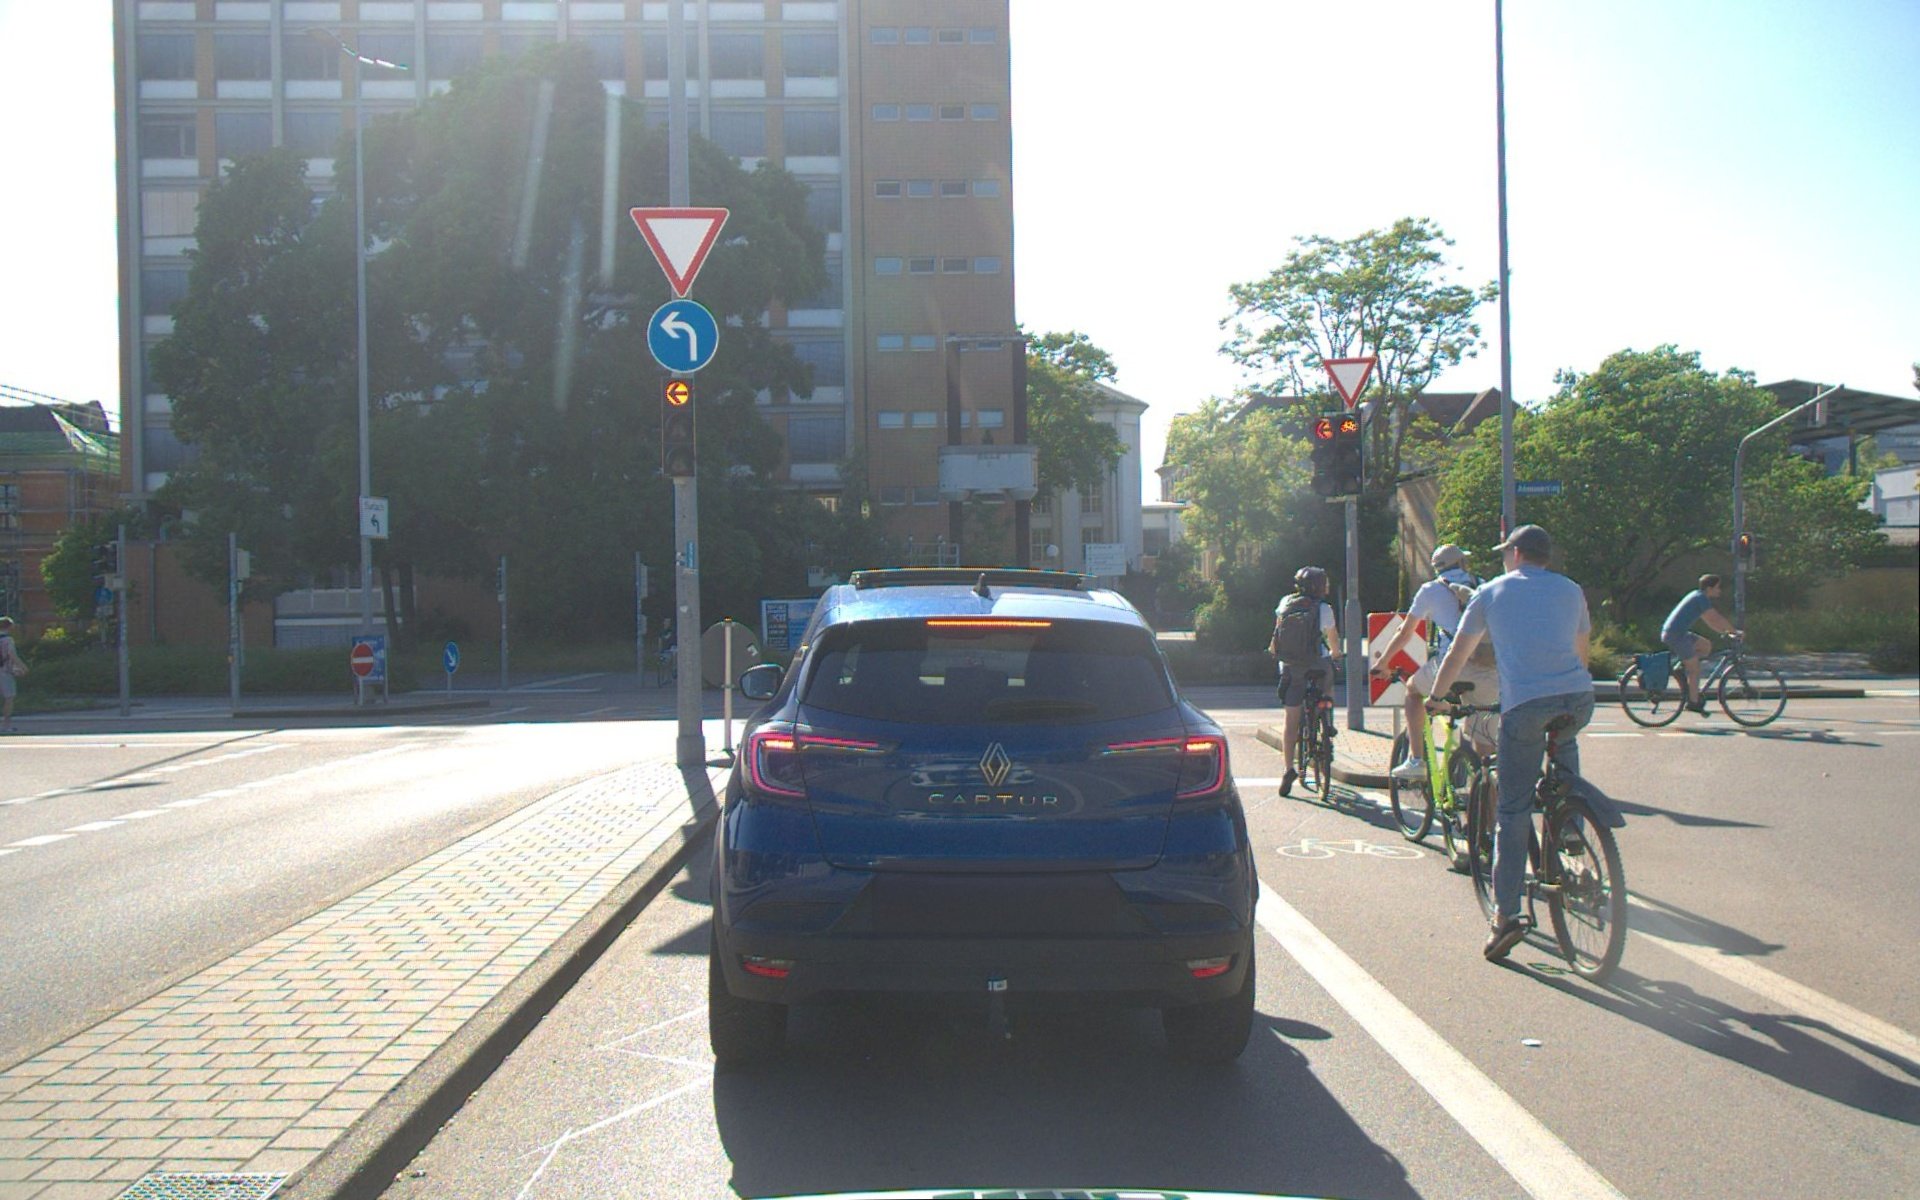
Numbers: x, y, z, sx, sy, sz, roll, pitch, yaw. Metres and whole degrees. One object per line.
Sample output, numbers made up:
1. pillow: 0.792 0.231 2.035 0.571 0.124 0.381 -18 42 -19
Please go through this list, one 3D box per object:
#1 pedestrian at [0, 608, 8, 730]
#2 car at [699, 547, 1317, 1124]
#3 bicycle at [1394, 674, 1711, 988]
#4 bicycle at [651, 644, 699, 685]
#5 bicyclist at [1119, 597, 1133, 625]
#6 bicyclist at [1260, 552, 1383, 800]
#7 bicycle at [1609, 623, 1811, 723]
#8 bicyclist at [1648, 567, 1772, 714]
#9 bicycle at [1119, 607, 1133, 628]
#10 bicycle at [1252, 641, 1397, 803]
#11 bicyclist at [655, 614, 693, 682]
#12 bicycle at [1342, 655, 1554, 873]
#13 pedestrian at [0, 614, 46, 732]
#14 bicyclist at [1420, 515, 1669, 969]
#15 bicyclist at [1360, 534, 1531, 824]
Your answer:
1. pedestrian: -15.435 1.086 25.594 0.796 1.895 0.910 -1 0 13
2. car: 0.056 0.663 6.636 1.753 1.613 3.912 0 0 -3
3. bicycle: 2.507 0.920 7.252 0.675 1.108 1.922 0 0 -1
4. bicycle: -7.529 1.700 43.761 0.739 1.002 2.095 -1 0 5
5. bicyclist: 9.257 0.611 92.259 0.680 1.507 0.718 -1 0 4
6. bicyclist: 2.769 0.561 12.758 0.685 1.822 1.142 0 0 -1
7. bicycle: 8.144 0.789 18.010 1.858 0.990 0.650 -2 0 6
8. bicyclist: 8.157 0.437 18.012 1.029 1.540 0.642 -2 0 6
9. bicycle: 9.308 0.973 92.988 0.680 1.160 2.442 -1 0 4
10. bicycle: 2.779 0.898 12.807 0.675 1.108 1.922 0 0 -1
11. bicyclist: -7.547 1.257 43.658 0.739 1.746 0.999 -1 0 5
12. bicycle: 2.845 0.911 9.848 0.675 1.108 1.922 0 0 -1
13. pedestrian: -14.579 1.105 25.317 0.666 1.761 0.761 -1 0 13
14. bicyclist: 2.508 0.569 7.216 0.669 1.822 1.142 0 0 -1
15. bicyclist: 2.852 0.443 9.813 0.664 1.622 1.142 0 0 -1
